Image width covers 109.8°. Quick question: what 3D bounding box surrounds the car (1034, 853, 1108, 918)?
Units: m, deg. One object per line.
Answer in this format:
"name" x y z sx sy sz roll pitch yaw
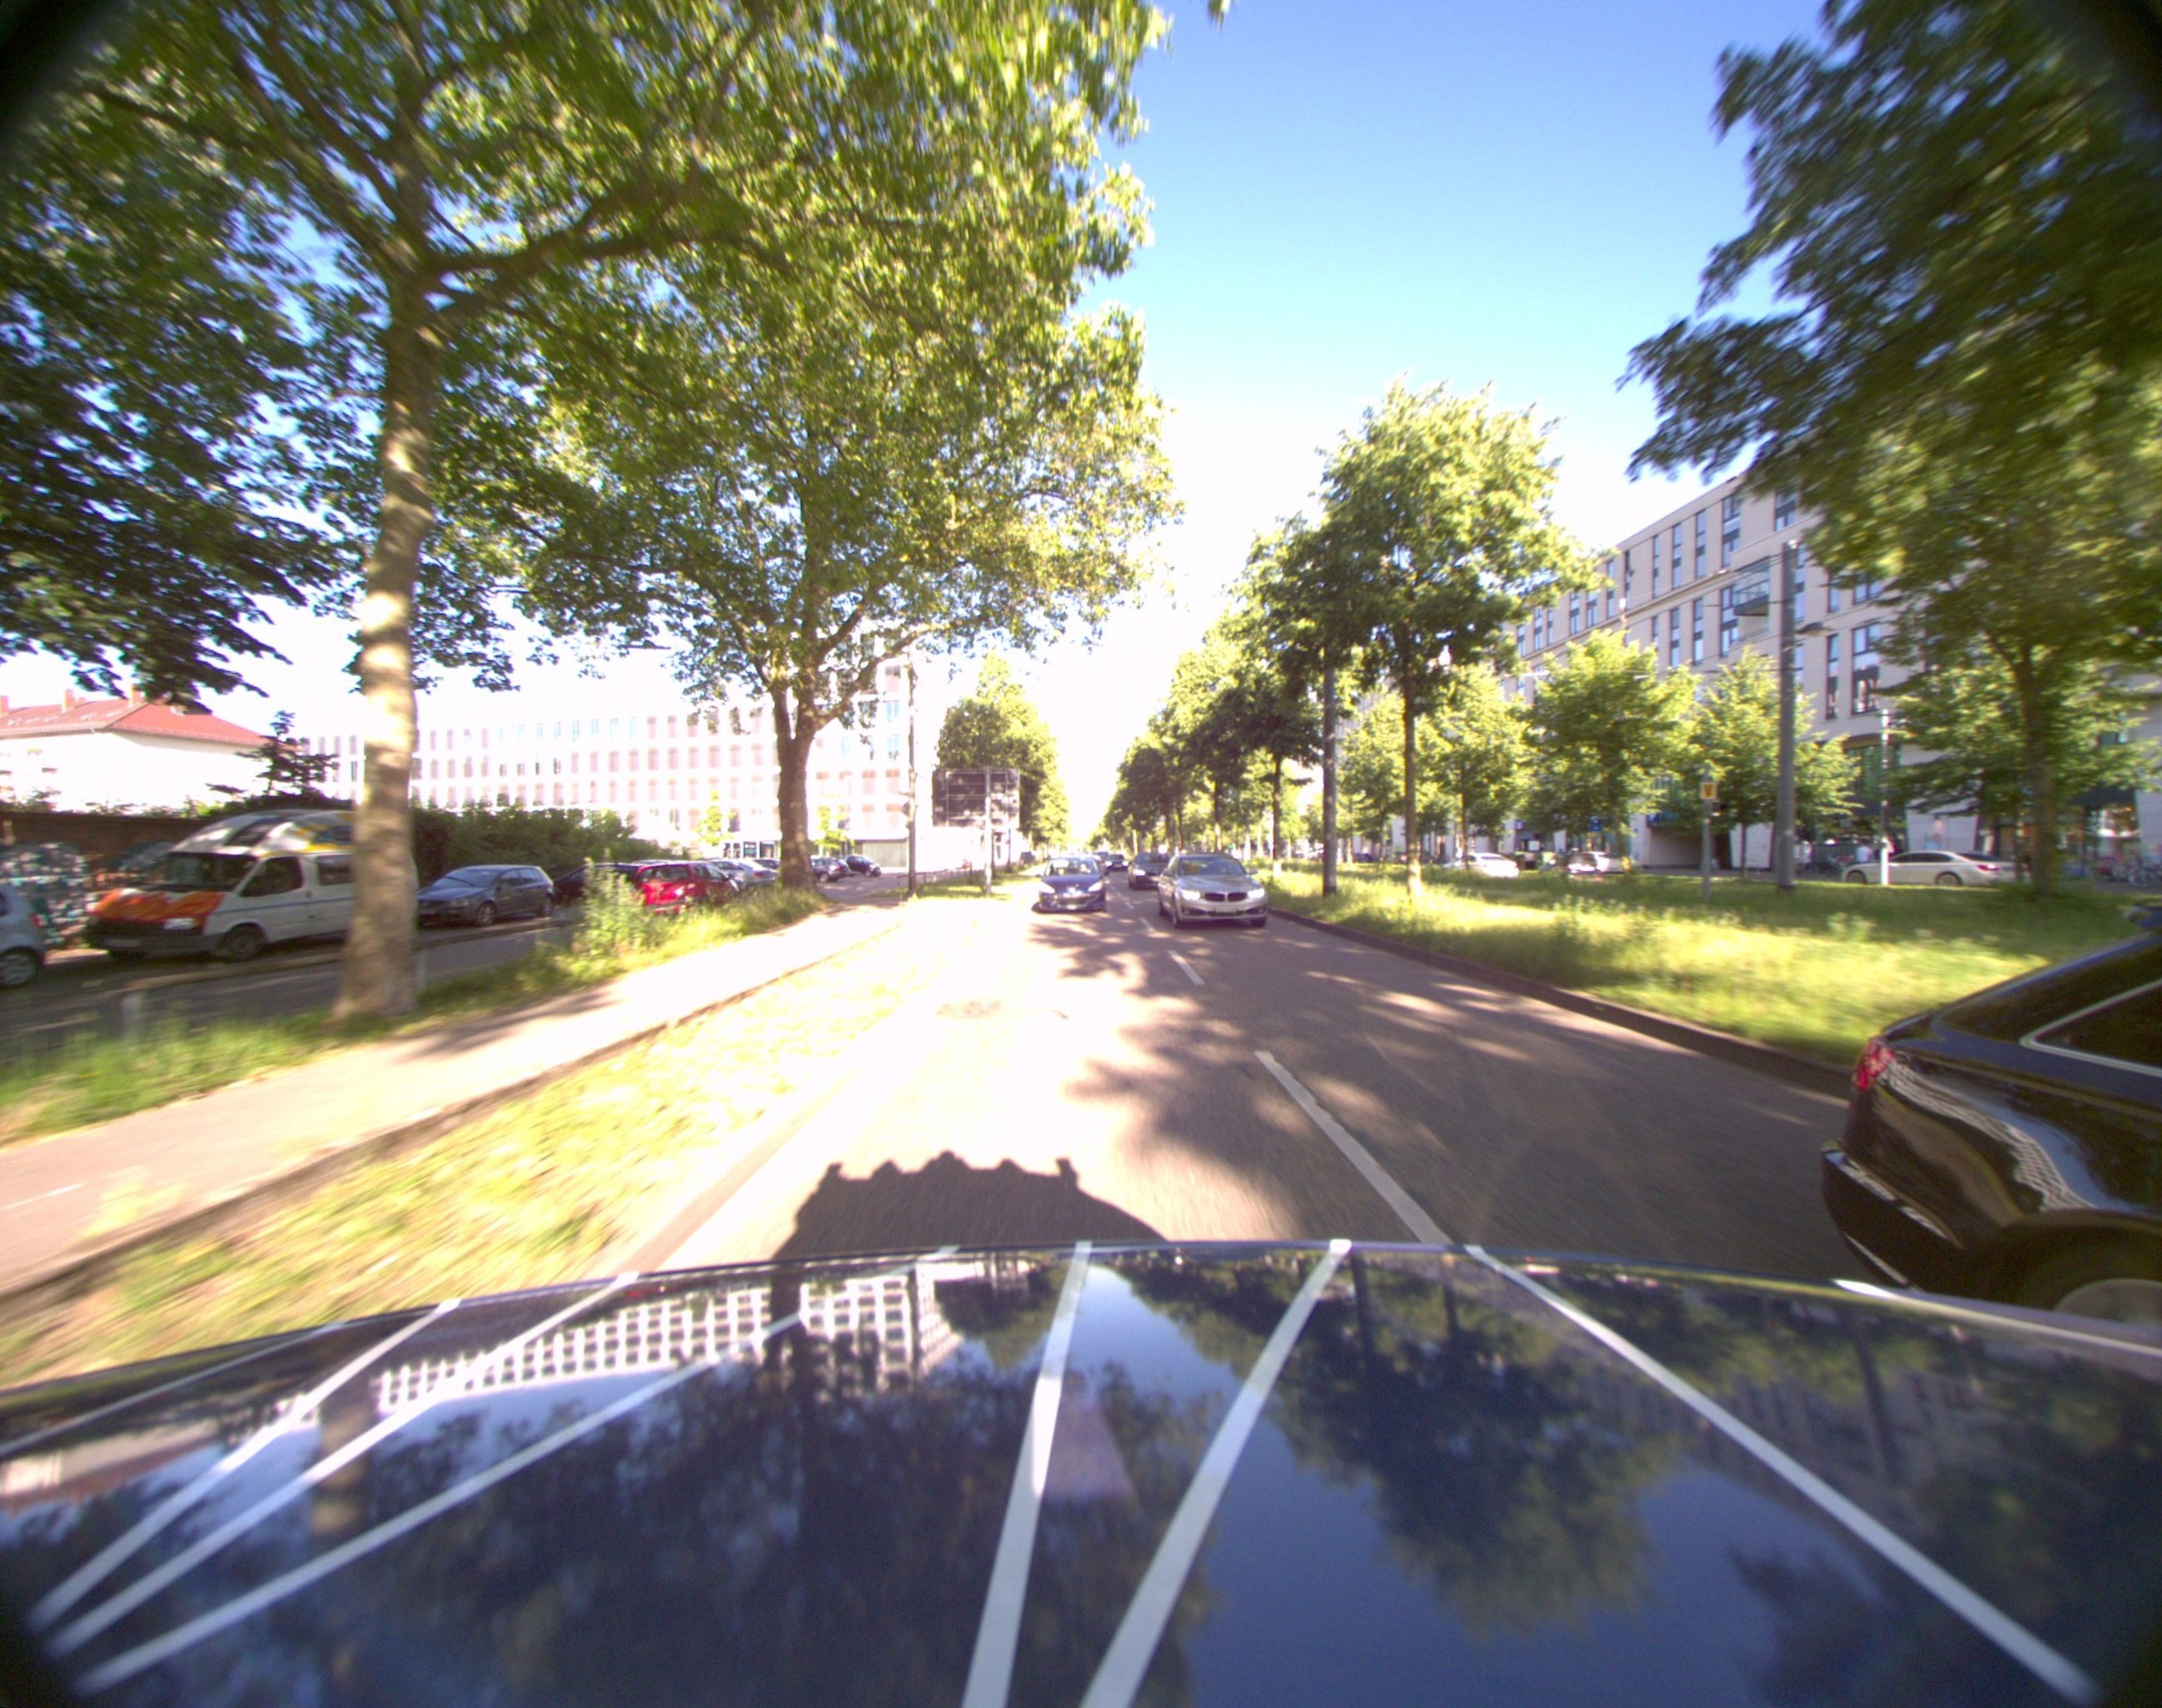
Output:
"car" -0.189 0.775 20.675 1.766 1.462 4.000 -2 1 2

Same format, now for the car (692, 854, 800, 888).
"car" -16.161 0.832 36.795 4.340 1.469 1.906 2 -1 -3

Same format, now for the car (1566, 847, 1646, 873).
"car" 31.827 0.348 46.226 1.999 1.433 4.018 -2 1 -2

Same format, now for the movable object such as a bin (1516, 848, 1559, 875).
"movable object such as a bin" 31.324 0.499 52.135 1.975 1.784 1.555 -2 1 -1

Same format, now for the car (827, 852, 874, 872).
"car" -18.165 0.630 59.997 1.594 1.536 3.826 1 -1 20

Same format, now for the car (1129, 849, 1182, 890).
"car" 3.038 0.605 31.788 1.950 1.514 4.000 -2 1 3

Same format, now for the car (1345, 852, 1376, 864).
"car" 31.911 0.451 86.833 1.728 1.405 4.336 0 0 -3

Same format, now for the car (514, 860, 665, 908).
"car" -16.860 1.007 26.210 3.998 1.496 1.765 -1 1 -2

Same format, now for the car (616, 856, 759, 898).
"car" -15.939 0.908 30.950 4.731 1.398 2.000 3 1 1

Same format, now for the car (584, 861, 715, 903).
"car" -16.041 1.027 28.373 3.996 1.384 1.620 1 1 3

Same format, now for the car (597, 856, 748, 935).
"car" -9.986 0.930 18.982 2.000 1.630 3.996 -2 1 -8

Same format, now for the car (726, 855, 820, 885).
"car" -16.087 0.835 39.800 4.202 1.490 1.782 0 1 -2

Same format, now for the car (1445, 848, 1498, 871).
"car" 31.907 0.403 62.198 1.999 1.719 4.337 -2 1 -2

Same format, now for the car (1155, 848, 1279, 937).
"car" 2.747 0.703 16.315 1.886 1.569 4.277 -2 1 1

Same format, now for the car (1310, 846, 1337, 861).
"car" 31.825 -0.067 99.874 1.999 2.002 4.553 0 0 -2

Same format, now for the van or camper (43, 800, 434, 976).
"van or camper" -15.377 0.513 14.440 1.999 2.715 4.962 2 1 -2

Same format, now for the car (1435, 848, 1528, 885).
"car" 20.159 0.582 38.569 1.998 1.676 5.109 -2 1 0

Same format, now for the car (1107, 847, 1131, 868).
"car" 3.070 0.291 61.887 1.782 1.571 3.783 -2 1 1

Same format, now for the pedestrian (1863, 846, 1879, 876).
"pedestrian" 40.561 0.365 39.007 0.501 1.540 0.523 -1 2 42

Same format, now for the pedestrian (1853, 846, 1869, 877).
"pedestrian" 39.923 0.389 38.892 0.501 1.540 0.523 -1 2 42

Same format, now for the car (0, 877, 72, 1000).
"car" -15.305 1.139 8.950 1.846 1.608 3.996 3 0 -10

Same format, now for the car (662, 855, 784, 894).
"car" -15.839 0.876 33.756 4.390 1.403 2.000 4 1 3

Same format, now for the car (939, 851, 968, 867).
"car" -13.270 0.489 79.226 1.998 1.477 4.402 2 1 3

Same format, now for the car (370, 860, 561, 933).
"car" -15.692 1.014 19.703 2.000 1.565 3.997 2 1 -7

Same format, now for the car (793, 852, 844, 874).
"car" -20.835 0.708 60.519 1.748 1.527 3.886 -2 1 19

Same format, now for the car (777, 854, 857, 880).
"car" -15.646 0.756 45.121 4.089 1.459 1.715 1 1 1

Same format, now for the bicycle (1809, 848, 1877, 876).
"bicycle" 38.711 0.385 38.653 0.949 1.273 2.772 -2 1 8

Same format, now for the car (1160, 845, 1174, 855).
"car" 21.582 -1.015 191.655 2.513 2.367 6.025 0 0 -4

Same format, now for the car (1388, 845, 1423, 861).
"car" 31.671 -0.125 74.226 1.562 1.471 4.270 -1 0 0

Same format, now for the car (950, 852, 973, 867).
"car" -13.207 0.554 84.229 1.869 1.477 4.272 2 1 1

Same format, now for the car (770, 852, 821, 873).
"car" -23.010 0.690 61.356 1.719 1.531 3.956 -2 1 19

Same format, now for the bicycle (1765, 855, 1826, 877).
"bicycle" 38.724 0.627 41.210 0.869 1.130 2.375 -2 1 -9

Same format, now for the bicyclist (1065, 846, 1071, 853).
"bicyclist" -2.522 -0.890 146.648 1.086 1.315 0.639 0 1 3

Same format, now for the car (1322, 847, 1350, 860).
"car" 31.799 -0.122 94.688 1.999 1.563 3.998 0 0 -3

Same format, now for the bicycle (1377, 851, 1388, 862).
"bicycle" 38.931 0.318 98.047 0.663 1.317 2.336 -2 1 6

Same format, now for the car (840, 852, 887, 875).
"car" -15.123 0.650 52.842 2.771 1.541 1.463 1 2 10

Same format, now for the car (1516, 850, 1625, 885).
"car" 23.236 0.571 36.375 1.998 1.433 5.110 -2 1 1

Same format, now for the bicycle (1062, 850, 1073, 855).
"bicycle" -2.589 -0.222 146.648 1.928 0.899 0.647 0 1 3

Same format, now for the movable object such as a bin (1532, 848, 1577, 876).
"movable object such as a bin" 31.345 0.524 50.333 1.975 1.784 1.555 -2 1 -1

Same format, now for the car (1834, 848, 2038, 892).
"car" 31.664 0.527 28.415 1.999 1.433 4.924 -2 1 -2

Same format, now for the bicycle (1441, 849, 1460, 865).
"bicycle" 38.668 0.282 79.472 0.619 1.537 3.034 -2 1 2

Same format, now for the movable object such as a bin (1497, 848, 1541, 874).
"movable object such as a bin" 31.210 0.473 54.192 1.975 1.784 2.010 -2 1 -2

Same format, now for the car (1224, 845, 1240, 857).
"car" 25.461 -0.498 128.202 1.998 2.002 4.000 -2 1 3
